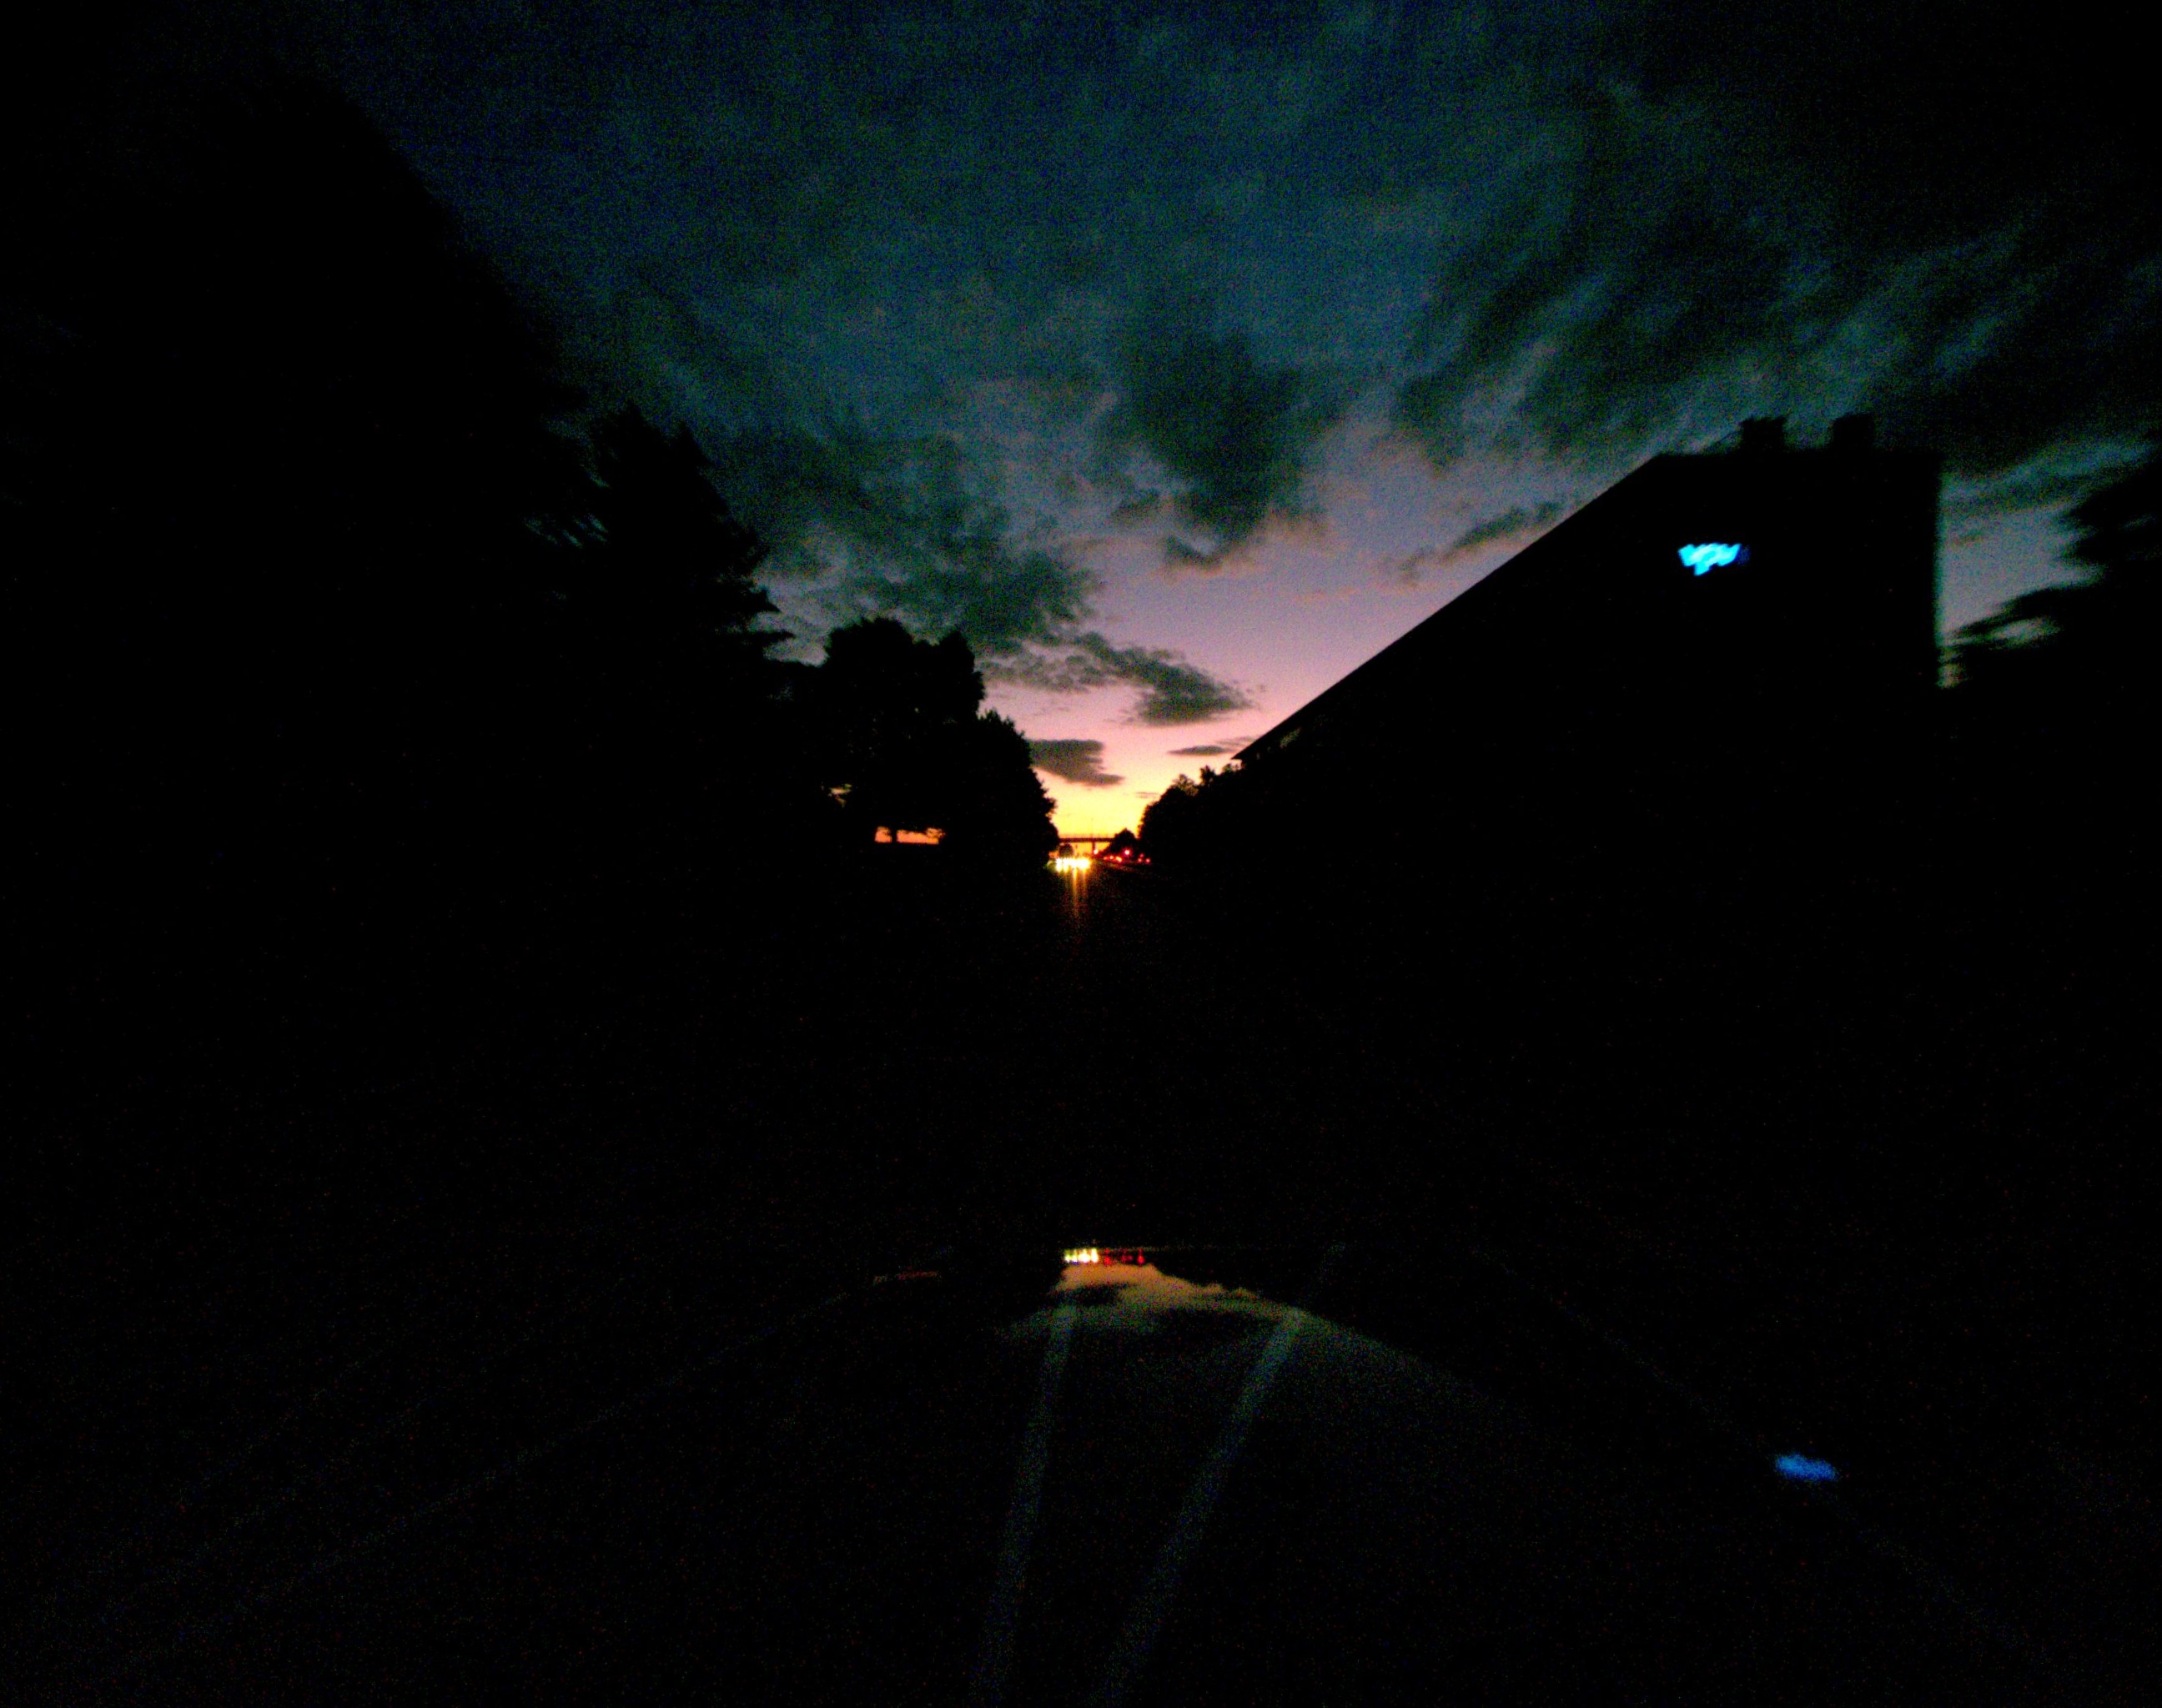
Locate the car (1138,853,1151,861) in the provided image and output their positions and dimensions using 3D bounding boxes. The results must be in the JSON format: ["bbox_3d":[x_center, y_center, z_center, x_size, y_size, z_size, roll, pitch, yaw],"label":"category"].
[{"bbox_3d":[10.312,0.460,123.370,1.693,1.372,3.571,-1,0,0],"label":"car"}]

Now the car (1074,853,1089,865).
[{"bbox_3d":[0.077,0.636,96.021,1.755,1.447,3.804,-2,0,2],"label":"car"}]
